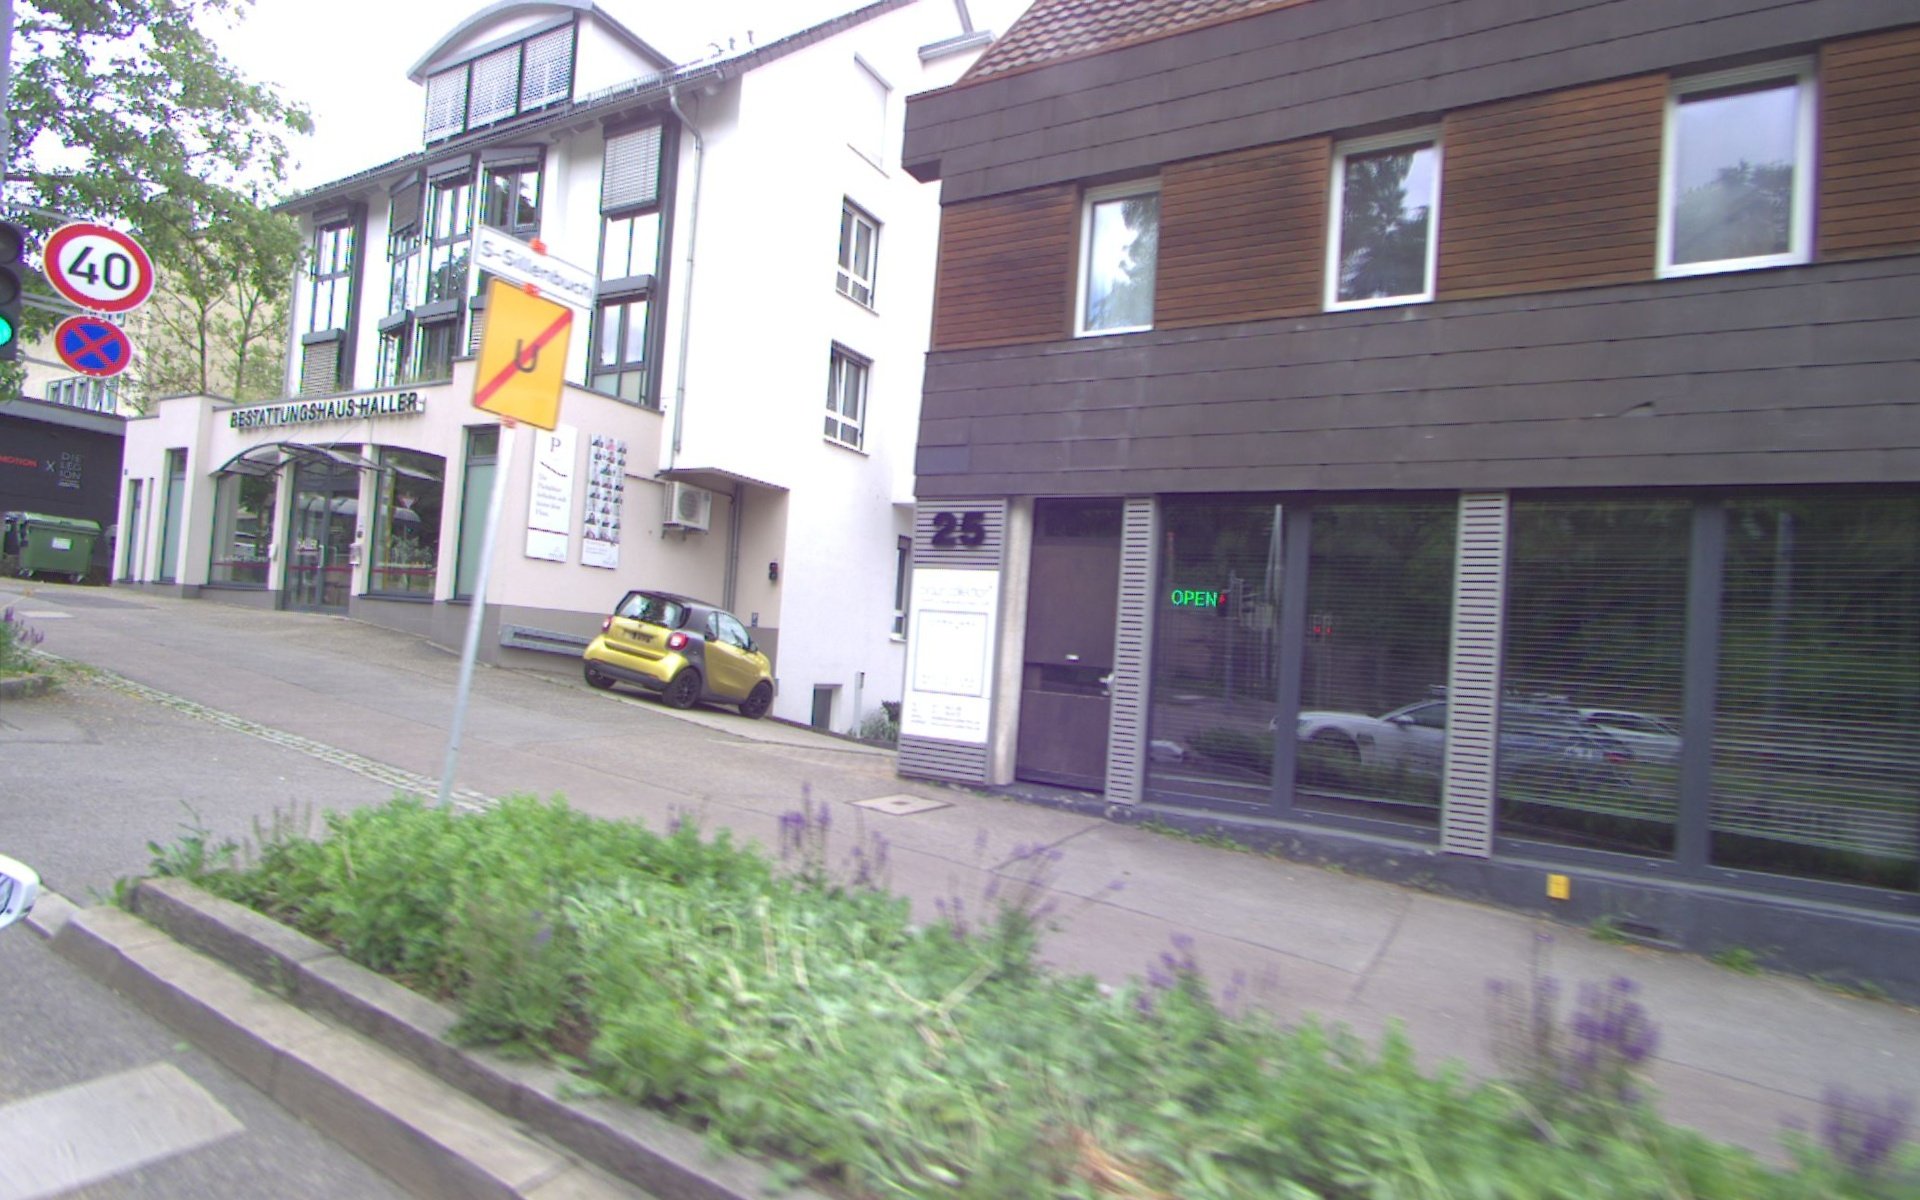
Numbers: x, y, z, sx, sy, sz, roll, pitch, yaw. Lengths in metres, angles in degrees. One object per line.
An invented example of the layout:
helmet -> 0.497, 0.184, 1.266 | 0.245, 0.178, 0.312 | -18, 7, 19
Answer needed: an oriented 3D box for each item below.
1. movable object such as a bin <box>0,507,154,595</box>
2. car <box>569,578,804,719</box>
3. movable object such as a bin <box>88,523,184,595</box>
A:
movable object such as a bin -> -20.126, -1.135, 22.598 | 3.935, 1.468, 1.892 | 7, -2, 33
car -> -3.965, 0.790, 15.040 | 1.636, 1.477, 3.008 | 9, -6, 25
movable object such as a bin -> -19.433, -0.958, 23.746 | 1.109, 1.426, 1.342 | 7, -1, 33
